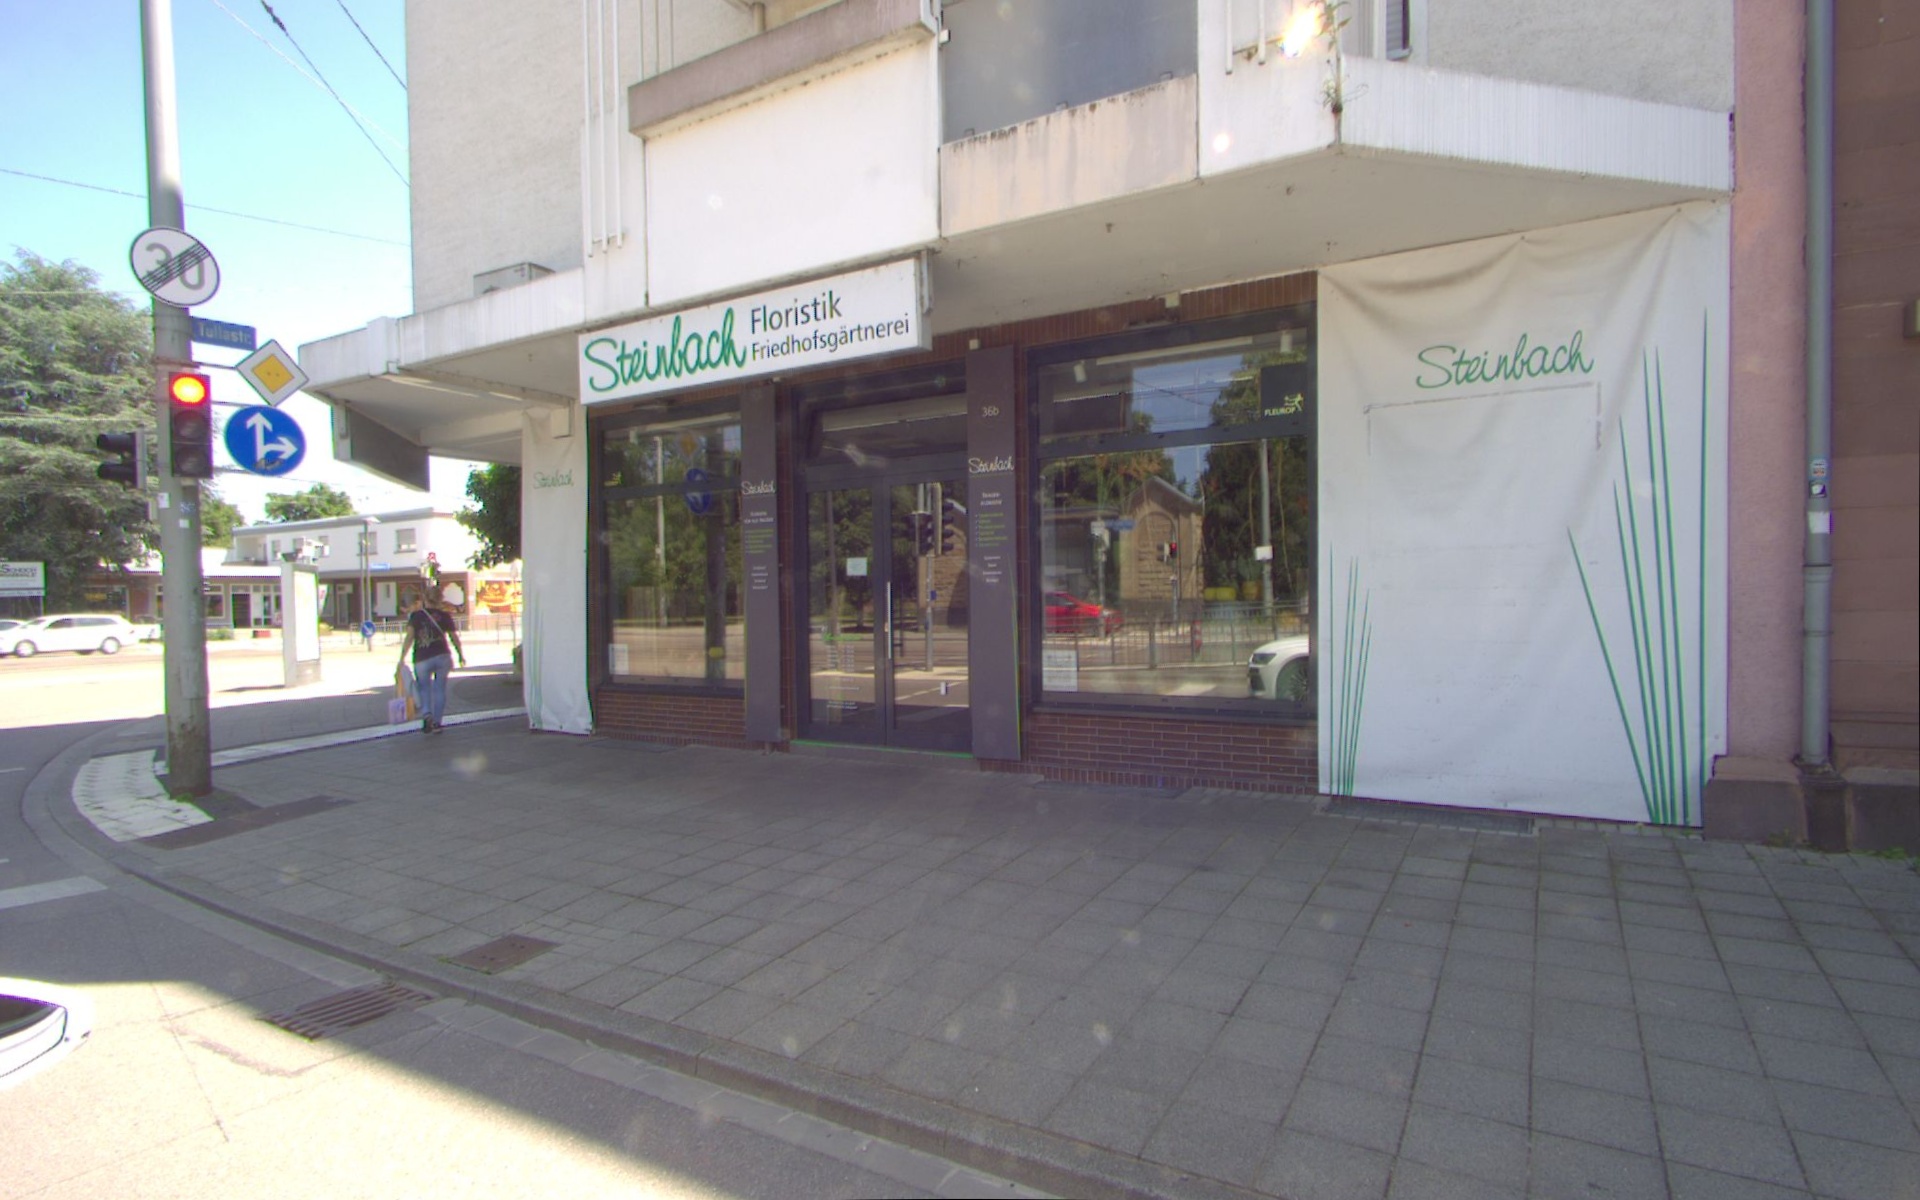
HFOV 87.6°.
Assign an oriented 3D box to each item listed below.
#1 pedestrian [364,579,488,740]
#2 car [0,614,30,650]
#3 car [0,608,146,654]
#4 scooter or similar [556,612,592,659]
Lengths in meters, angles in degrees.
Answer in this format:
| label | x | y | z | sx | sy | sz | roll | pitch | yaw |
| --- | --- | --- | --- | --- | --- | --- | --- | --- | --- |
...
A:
| label | x | y | z | sx | sy | sz | roll | pitch | yaw |
| --- | --- | --- | --- | --- | --- | --- | --- | --- | --- |
| pedestrian | -5.747 | 0.608 | 10.787 | 0.816 | 1.606 | 0.822 | 0 | 4 | 38 |
| car | -37.870 | 1.247 | 37.915 | 1.625 | 1.369 | 3.806 | 0 | 0 | 44 |
| car | -32.623 | 1.079 | 36.324 | 1.793 | 1.509 | 4.486 | 0 | 0 | 23 |
| scooter or similar | -10.502 | 0.948 | 27.290 | 0.387 | 1.229 | 1.255 | 0 | 0 | 5 |
